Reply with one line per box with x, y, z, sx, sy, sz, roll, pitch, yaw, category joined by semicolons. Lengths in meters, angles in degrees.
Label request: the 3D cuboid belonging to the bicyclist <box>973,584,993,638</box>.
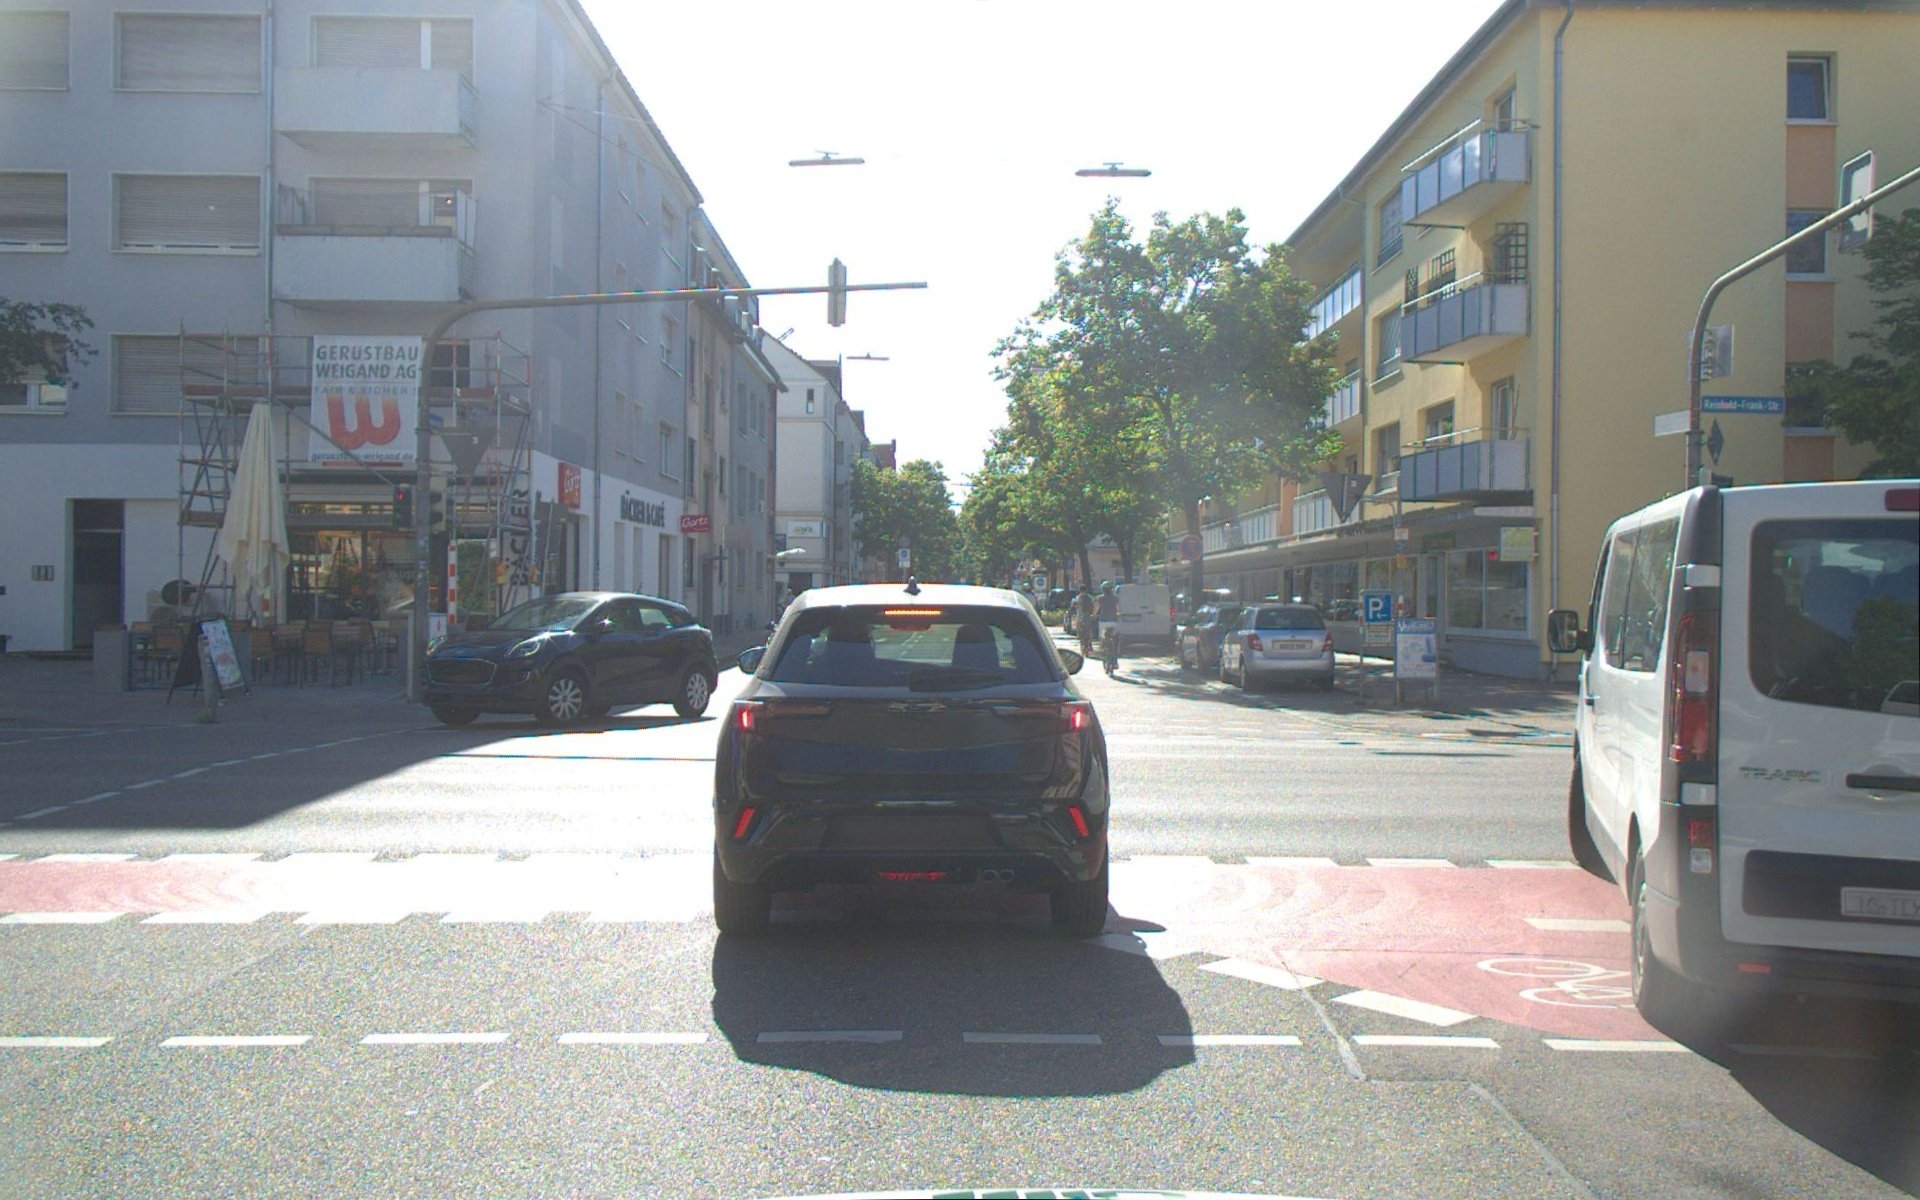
0.746;0.349;53.221;0.619;1.698;1.050;0;0;-1;bicyclist

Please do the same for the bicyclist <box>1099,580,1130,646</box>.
3.060;0.251;32.768;0.535;1.284;0.803;0;0;1;bicyclist

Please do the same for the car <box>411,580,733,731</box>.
-4.491;0.601;19.753;1.560;1.593;4.086;-1;0;25;car

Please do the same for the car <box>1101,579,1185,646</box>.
5.292;0.335;48.440;2.004;1.879;4.584;0;0;1;car

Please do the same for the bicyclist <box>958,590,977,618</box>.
0.374;0.197;81.336;0.839;1.337;1.210;3;0;-1;bicyclist

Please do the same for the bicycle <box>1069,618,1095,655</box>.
3.141;0.936;42.714;0.535;0.881;1.876;0;0;1;bicycle

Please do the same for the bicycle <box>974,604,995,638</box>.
0.773;0.660;53.332;0.619;1.059;1.795;0;0;-1;bicycle

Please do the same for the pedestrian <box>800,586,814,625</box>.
-6.413;0.239;69.429;0.566;1.610;0.707;0;0;-6;pedestrian

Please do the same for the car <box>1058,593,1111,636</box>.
4.525;0.496;60.549;1.677;1.509;3.381;0;0;0;car

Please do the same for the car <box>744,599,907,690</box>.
-2.315;0.741;29.705;1.766;1.437;4.430;-1;0;11;car

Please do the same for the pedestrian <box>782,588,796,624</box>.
-7.200;0.234;69.562;0.566;1.493;0.702;0;0;-6;pedestrian

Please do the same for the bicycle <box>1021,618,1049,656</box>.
1.832;0.890;40.456;0.607;0.881;1.876;0;0;1;bicycle

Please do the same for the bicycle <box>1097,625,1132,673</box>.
3.060;0.968;32.883;0.535;0.881;1.876;0;0;1;bicycle

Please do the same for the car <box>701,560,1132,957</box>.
-0.193;0.641;8.658;1.726;1.586;3.999;0;0;-1;car

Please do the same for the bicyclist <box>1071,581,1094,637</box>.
3.145;0.226;42.669;0.535;1.406;0.823;0;0;1;bicyclist

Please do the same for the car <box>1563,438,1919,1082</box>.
3.931;0.524;7.426;1.927;1.974;5.058;2;0;16;car

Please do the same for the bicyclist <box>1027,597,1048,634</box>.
2.565;0.502;54.663;0.677;1.214;0.595;0;0;0;bicyclist

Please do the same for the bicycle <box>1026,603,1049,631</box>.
2.562;0.553;54.616;0.677;0.881;1.876;0;0;1;bicycle

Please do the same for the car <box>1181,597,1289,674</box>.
5.685;0.704;34.478;1.677;1.509;3.381;0;0;0;car

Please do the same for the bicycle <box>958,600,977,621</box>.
0.365;0.510;81.317;0.839;0.961;2.307;3;0;-1;bicycle

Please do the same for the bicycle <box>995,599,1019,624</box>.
1.906;0.456;67.076;0.839;0.961;2.307;3;0;-1;bicycle

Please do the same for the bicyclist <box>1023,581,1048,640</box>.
1.839;0.254;40.410;0.576;1.406;0.823;0;0;1;bicyclist

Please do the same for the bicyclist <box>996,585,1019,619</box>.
1.920;0.080;66.933;0.839;1.337;1.210;3;0;-1;bicyclist

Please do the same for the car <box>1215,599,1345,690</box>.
5.724;0.758;29.979;1.677;1.509;3.480;0;0;0;car
